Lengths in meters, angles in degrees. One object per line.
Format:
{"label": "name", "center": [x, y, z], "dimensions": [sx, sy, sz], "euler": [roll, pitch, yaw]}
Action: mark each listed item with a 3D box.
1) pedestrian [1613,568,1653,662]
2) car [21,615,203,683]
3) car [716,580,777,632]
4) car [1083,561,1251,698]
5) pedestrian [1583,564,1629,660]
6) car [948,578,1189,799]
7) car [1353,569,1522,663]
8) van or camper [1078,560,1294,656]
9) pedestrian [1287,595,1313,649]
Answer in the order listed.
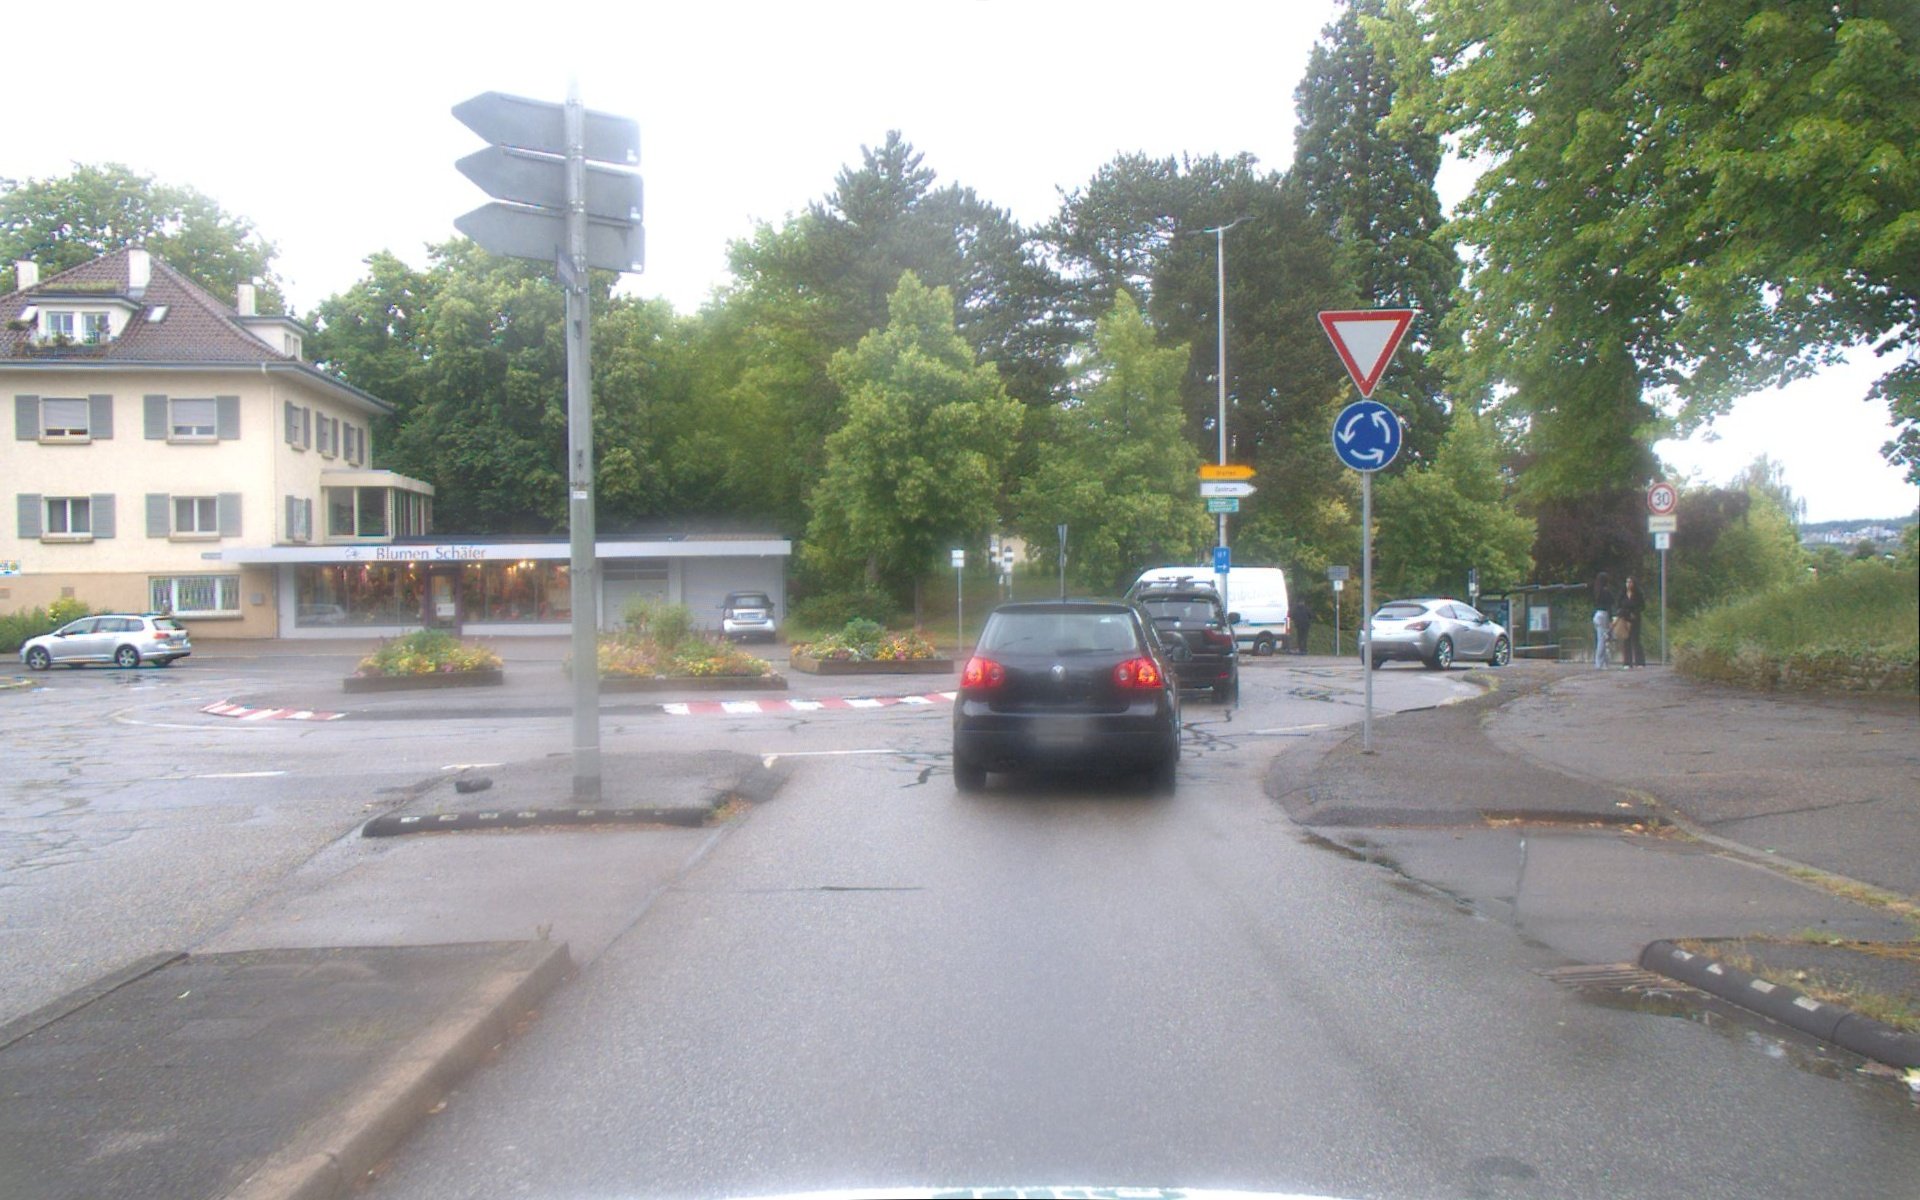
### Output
{"label": "pedestrian", "center": [12.572, 0.274, 30.924], "dimensions": [0.620, 1.743, 0.530], "euler": [0, -1, 14]}
{"label": "car", "center": [-23.383, 1.329, 45.676], "dimensions": [4.042, 1.772, 2.002], "euler": [0, -1, 8]}
{"label": "car", "center": [-6.746, 0.165, 52.003], "dimensions": [1.779, 1.512, 3.823], "euler": [-2, 0, -9]}
{"label": "car", "center": [3.012, 0.419, 24.896], "dimensions": [1.730, 1.833, 4.243], "euler": [-2, 0, -3]}
{"label": "pedestrian", "center": [11.852, 0.224, 30.345], "dimensions": [0.519, 1.743, 0.633], "euler": [1, -1, -16]}
{"label": "car", "center": [1.043, 0.625, 13.902], "dimensions": [1.727, 1.565, 4.003], "euler": [0, 0, 8]}
{"label": "car", "center": [10.221, 0.314, 35.235], "dimensions": [1.739, 1.833, 4.219], "euler": [-2, 0, 43]}
{"label": "van or camper", "center": [6.064, 0.232, 44.071], "dimensions": [5.591, 2.420, 2.178], "euler": [1, -1, -31]}
{"label": "pedestrian", "center": [11.239, 0.717, 54.668], "dimensions": [0.722, 1.756, 0.817], "euler": [0, -1, 19]}
